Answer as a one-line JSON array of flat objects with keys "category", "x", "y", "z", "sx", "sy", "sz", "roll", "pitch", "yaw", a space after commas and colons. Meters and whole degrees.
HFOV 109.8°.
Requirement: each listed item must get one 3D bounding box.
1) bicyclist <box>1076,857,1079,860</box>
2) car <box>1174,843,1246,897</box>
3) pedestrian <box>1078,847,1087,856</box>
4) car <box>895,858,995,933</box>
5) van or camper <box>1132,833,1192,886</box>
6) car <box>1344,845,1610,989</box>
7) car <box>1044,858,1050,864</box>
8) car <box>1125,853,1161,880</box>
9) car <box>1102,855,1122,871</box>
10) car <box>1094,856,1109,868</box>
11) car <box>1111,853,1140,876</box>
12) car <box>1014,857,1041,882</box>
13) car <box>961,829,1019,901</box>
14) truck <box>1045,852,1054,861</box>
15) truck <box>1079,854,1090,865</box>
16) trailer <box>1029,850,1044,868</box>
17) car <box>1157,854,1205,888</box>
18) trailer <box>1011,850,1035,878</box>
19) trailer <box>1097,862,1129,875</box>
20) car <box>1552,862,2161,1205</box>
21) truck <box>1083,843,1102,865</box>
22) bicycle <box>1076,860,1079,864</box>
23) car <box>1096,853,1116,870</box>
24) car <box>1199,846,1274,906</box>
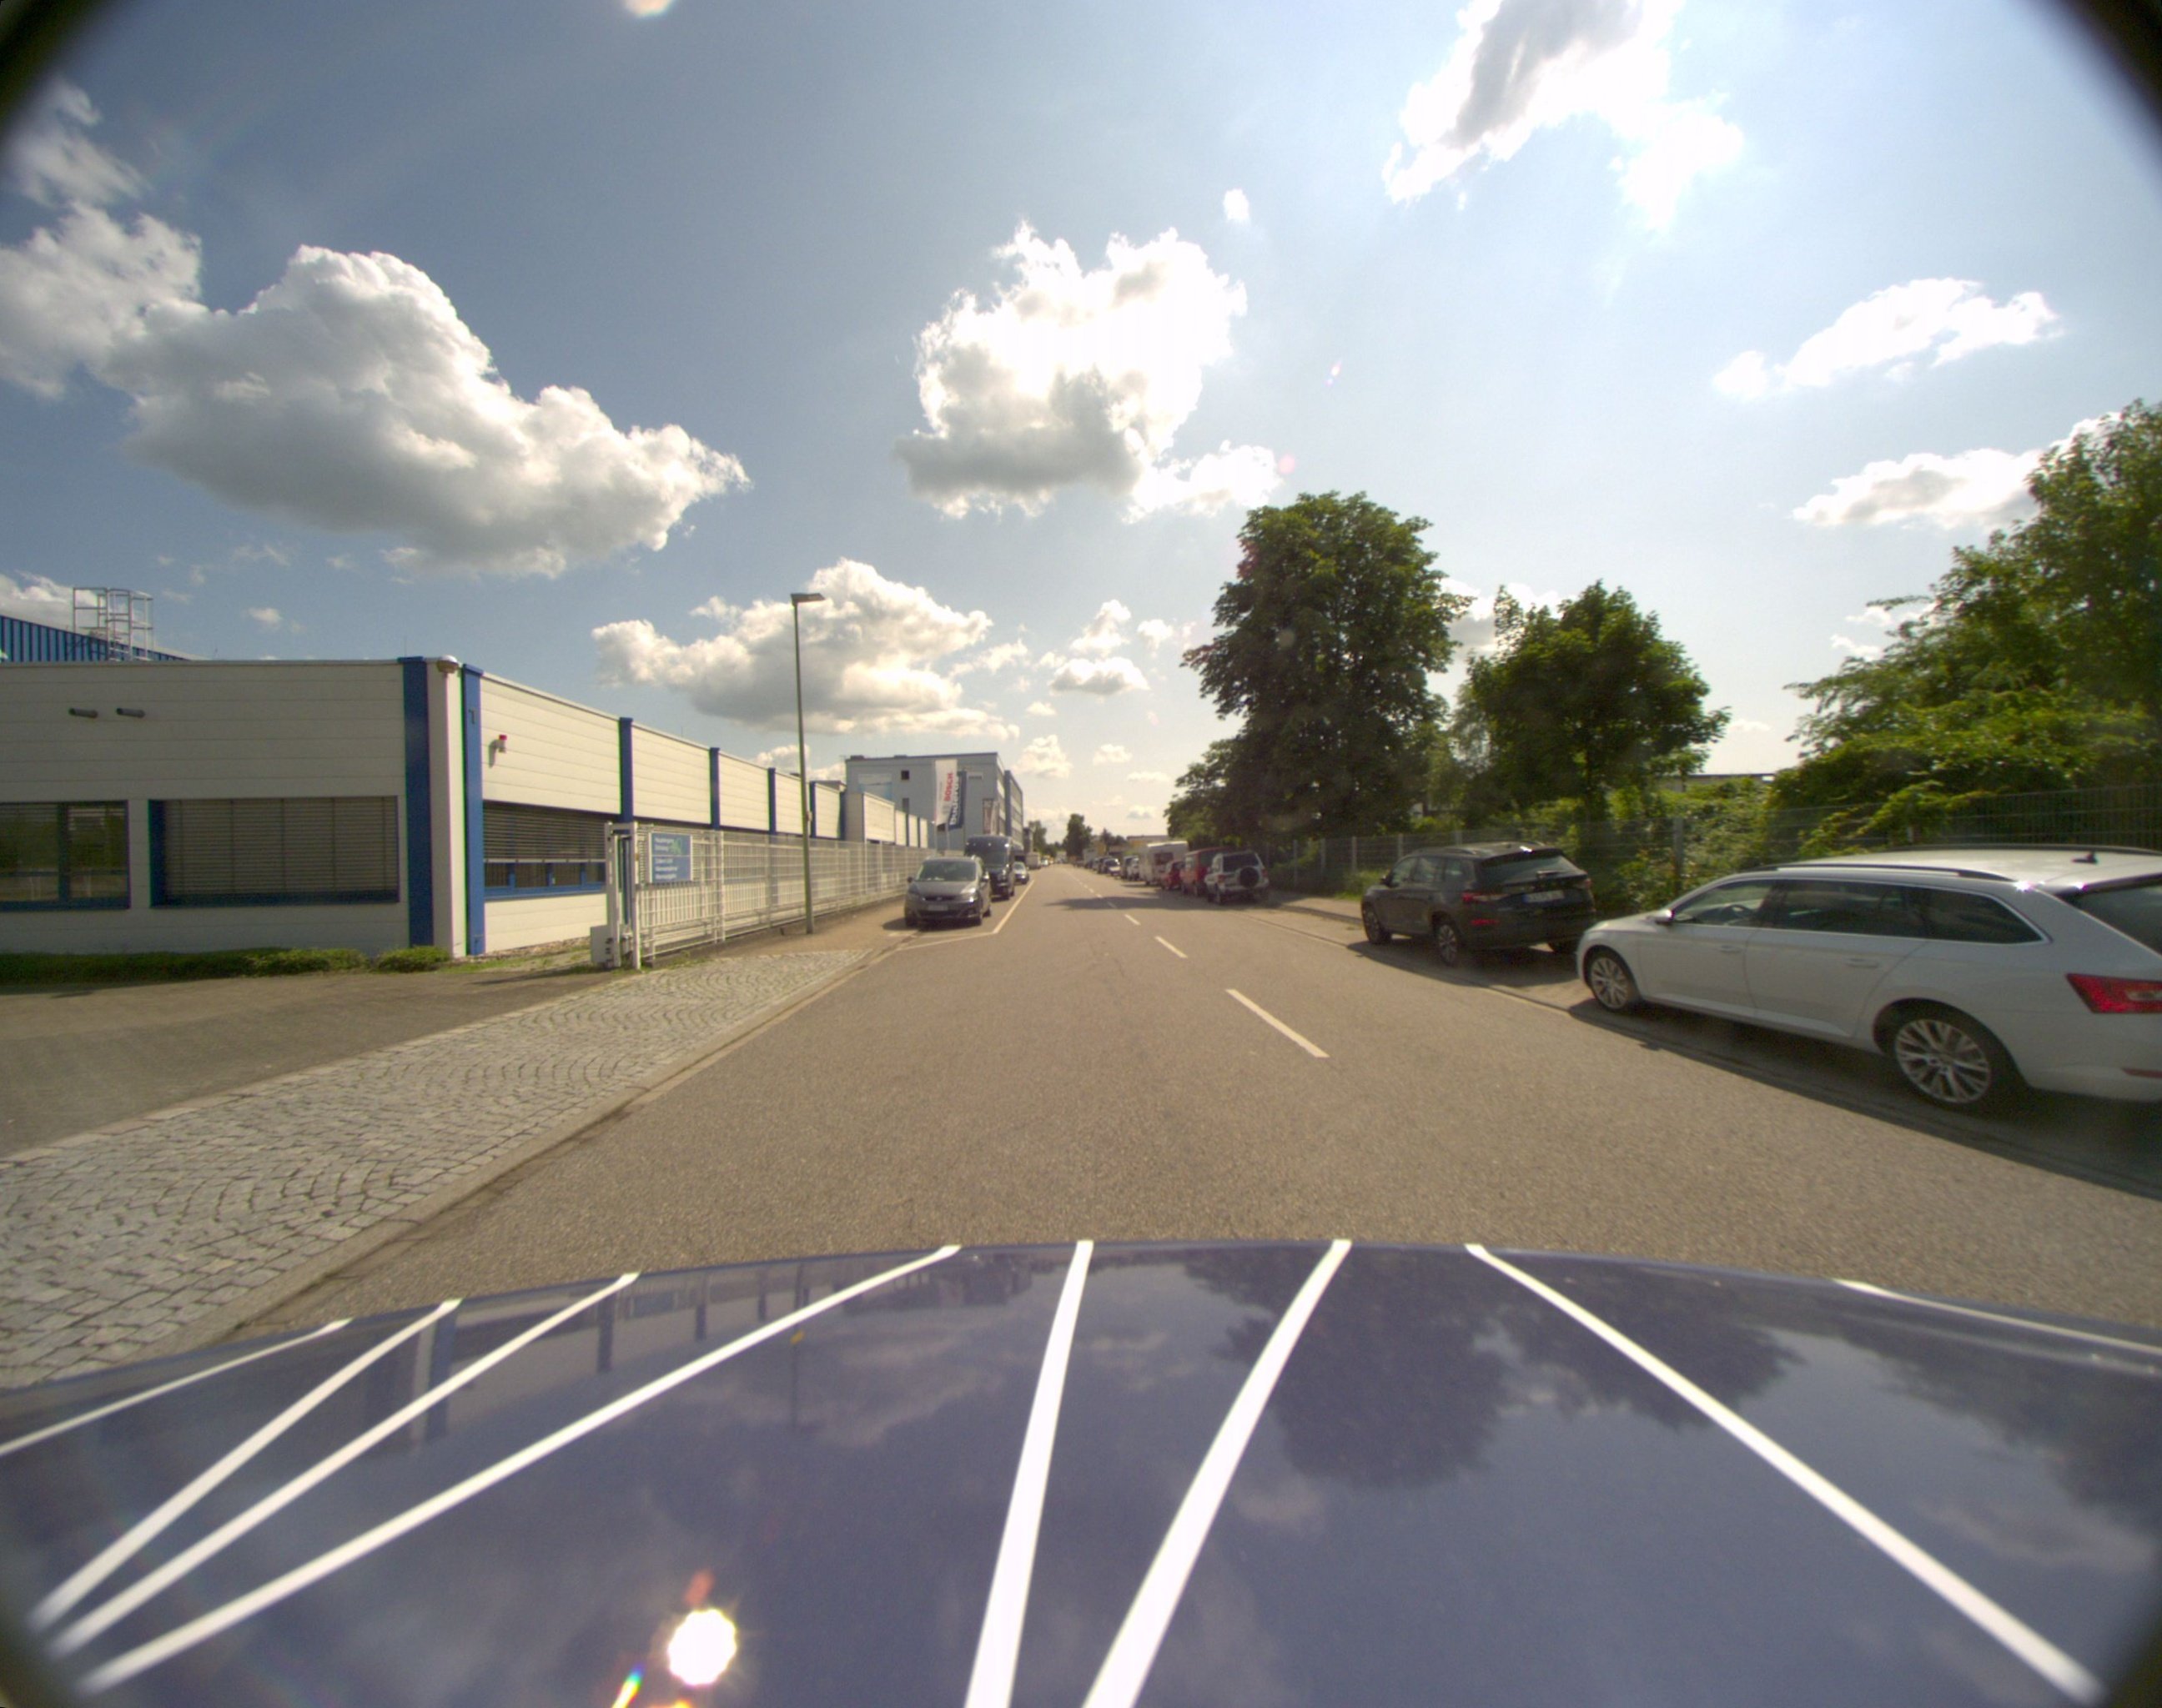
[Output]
[{"category": "bicyclist", "x": -0.774, "y": 0.927, "z": 152.903, "sx": 0.567, "sy": 0.628, "sz": 1.857, "roll": -2, "pitch": -1, "yaw": 1}, {"category": "car", "x": 5.495, "y": 0.639, "z": 33.083, "sx": 1.903, "sy": 1.943, "sz": 4.956, "roll": -7, "pitch": 1, "yaw": -2}, {"category": "pedestrian", "x": 0.275, "y": -0.519, "z": 168.272, "sx": 1.999, "sy": 2.002, "sz": 3.999, "roll": -2, "pitch": 0, "yaw": 0}, {"category": "car", "x": -3.288, "y": 0.939, "z": 19.228, "sx": 1.830, "sy": 1.655, "sz": 4.555, "roll": -1, "pitch": 0, "yaw": -2}, {"category": "van or camper", "x": 4.821, "y": 0.302, "z": 46.369, "sx": 2.269, "sy": 2.787, "sz": 6.831, "roll": -5, "pitch": 0, "yaw": -4}, {"category": "car", "x": 5.794, "y": 0.801, "z": 11.886, "sx": 1.615, "sy": 1.735, "sz": 4.636, "roll": -3, "pitch": 0, "yaw": -1}, {"category": "car", "x": -8.690, "y": 1.765, "z": 194.923, "sx": 1.657, "sy": 1.324, "sz": 3.999, "roll": -1, "pitch": 0, "yaw": -2}, {"category": "car", "x": 4.381, "y": 0.853, "z": 54.417, "sx": 1.688, "sy": 1.682, "sz": 4.443, "roll": -6, "pitch": 0, "yaw": -5}, {"category": "car", "x": 3.205, "y": 0.914, "z": 78.729, "sx": 1.581, "sy": 1.504, "sz": 4.200, "roll": -2, "pitch": 0, "yaw": -4}, {"category": "car", "x": 2.571, "y": 1.040, "z": 97.329, "sx": 1.620, "sy": 1.475, "sz": 3.709, "roll": -3, "pitch": 0, "yaw": -2}, {"category": "car", "x": 3.539, "y": 0.819, "z": 60.982, "sx": 1.832, "sy": 1.783, "sz": 4.734, "roll": -1, "pitch": 0, "yaw": -3}, {"category": "car", "x": -3.418, "y": 1.000, "z": 49.288, "sx": 1.576, "sy": 1.498, "sz": 4.131, "roll": -1, "pitch": 0, "yaw": -2}, {"category": "car", "x": -3.722, "y": 0.430, "z": 32.140, "sx": 1.943, "sy": 2.732, "sz": 6.153, "roll": -1, "pitch": 0, "yaw": -2}, {"category": "truck", "x": -9.584, "y": 0.732, "z": 228.722, "sx": 2.403, "sy": 2.787, "sz": 6.374, "roll": -1, "pitch": 0, "yaw": 0}, {"category": "truck", "x": 0.788, "y": 1.111, "z": 167.856, "sx": 2.133, "sy": 2.225, "sz": 7.349, "roll": -4, "pitch": 0, "yaw": 1}, {"category": "trailer", "x": -6.519, "y": 0.667, "z": 111.488, "sx": 1.873, "sy": 2.538, "sz": 5.072, "roll": -1, "pitch": 0, "yaw": 1}, {"category": "car", "x": 5.110, "y": 0.841, "z": 39.195, "sx": 1.629, "sy": 1.523, "sz": 4.267, "roll": -5, "pitch": 0, "yaw": -2}, {"category": "trailer", "x": -4.222, "y": 0.716, "z": 55.989, "sx": 1.606, "sy": 2.025, "sz": 2.740, "roll": -2, "pitch": 0, "yaw": -3}, {"category": "trailer", "x": 2.864, "y": 1.319, "z": 70.540, "sx": 2.277, "sy": 0.878, "sz": 7.130, "roll": -6, "pitch": 0, "yaw": -3}, {"category": "car", "x": 5.988, "y": 0.889, "z": 5.804, "sx": 1.704, "sy": 1.585, "sz": 4.786, "roll": -1, "pitch": 0, "yaw": -1}, {"category": "truck", "x": 1.842, "y": 0.057, "z": 124.022, "sx": 2.256, "sy": 3.342, "sz": 6.905, "roll": -6, "pitch": 0, "yaw": -3}, {"category": "bicycle", "x": -0.732, "y": 1.636, "z": 152.918, "sx": 0.589, "sy": 0.737, "sz": 2.125, "roll": -1, "pitch": 0, "yaw": 0}, {"category": "car", "x": 2.727, "y": 0.791, "z": 83.678, "sx": 1.806, "sy": 1.739, "sz": 4.712, "roll": -1, "pitch": 0, "yaw": -3}, {"category": "car", "x": 5.354, "y": 0.721, "z": 26.666, "sx": 1.704, "sy": 1.791, "sz": 3.826, "roll": -5, "pitch": 0, "yaw": 0}]
